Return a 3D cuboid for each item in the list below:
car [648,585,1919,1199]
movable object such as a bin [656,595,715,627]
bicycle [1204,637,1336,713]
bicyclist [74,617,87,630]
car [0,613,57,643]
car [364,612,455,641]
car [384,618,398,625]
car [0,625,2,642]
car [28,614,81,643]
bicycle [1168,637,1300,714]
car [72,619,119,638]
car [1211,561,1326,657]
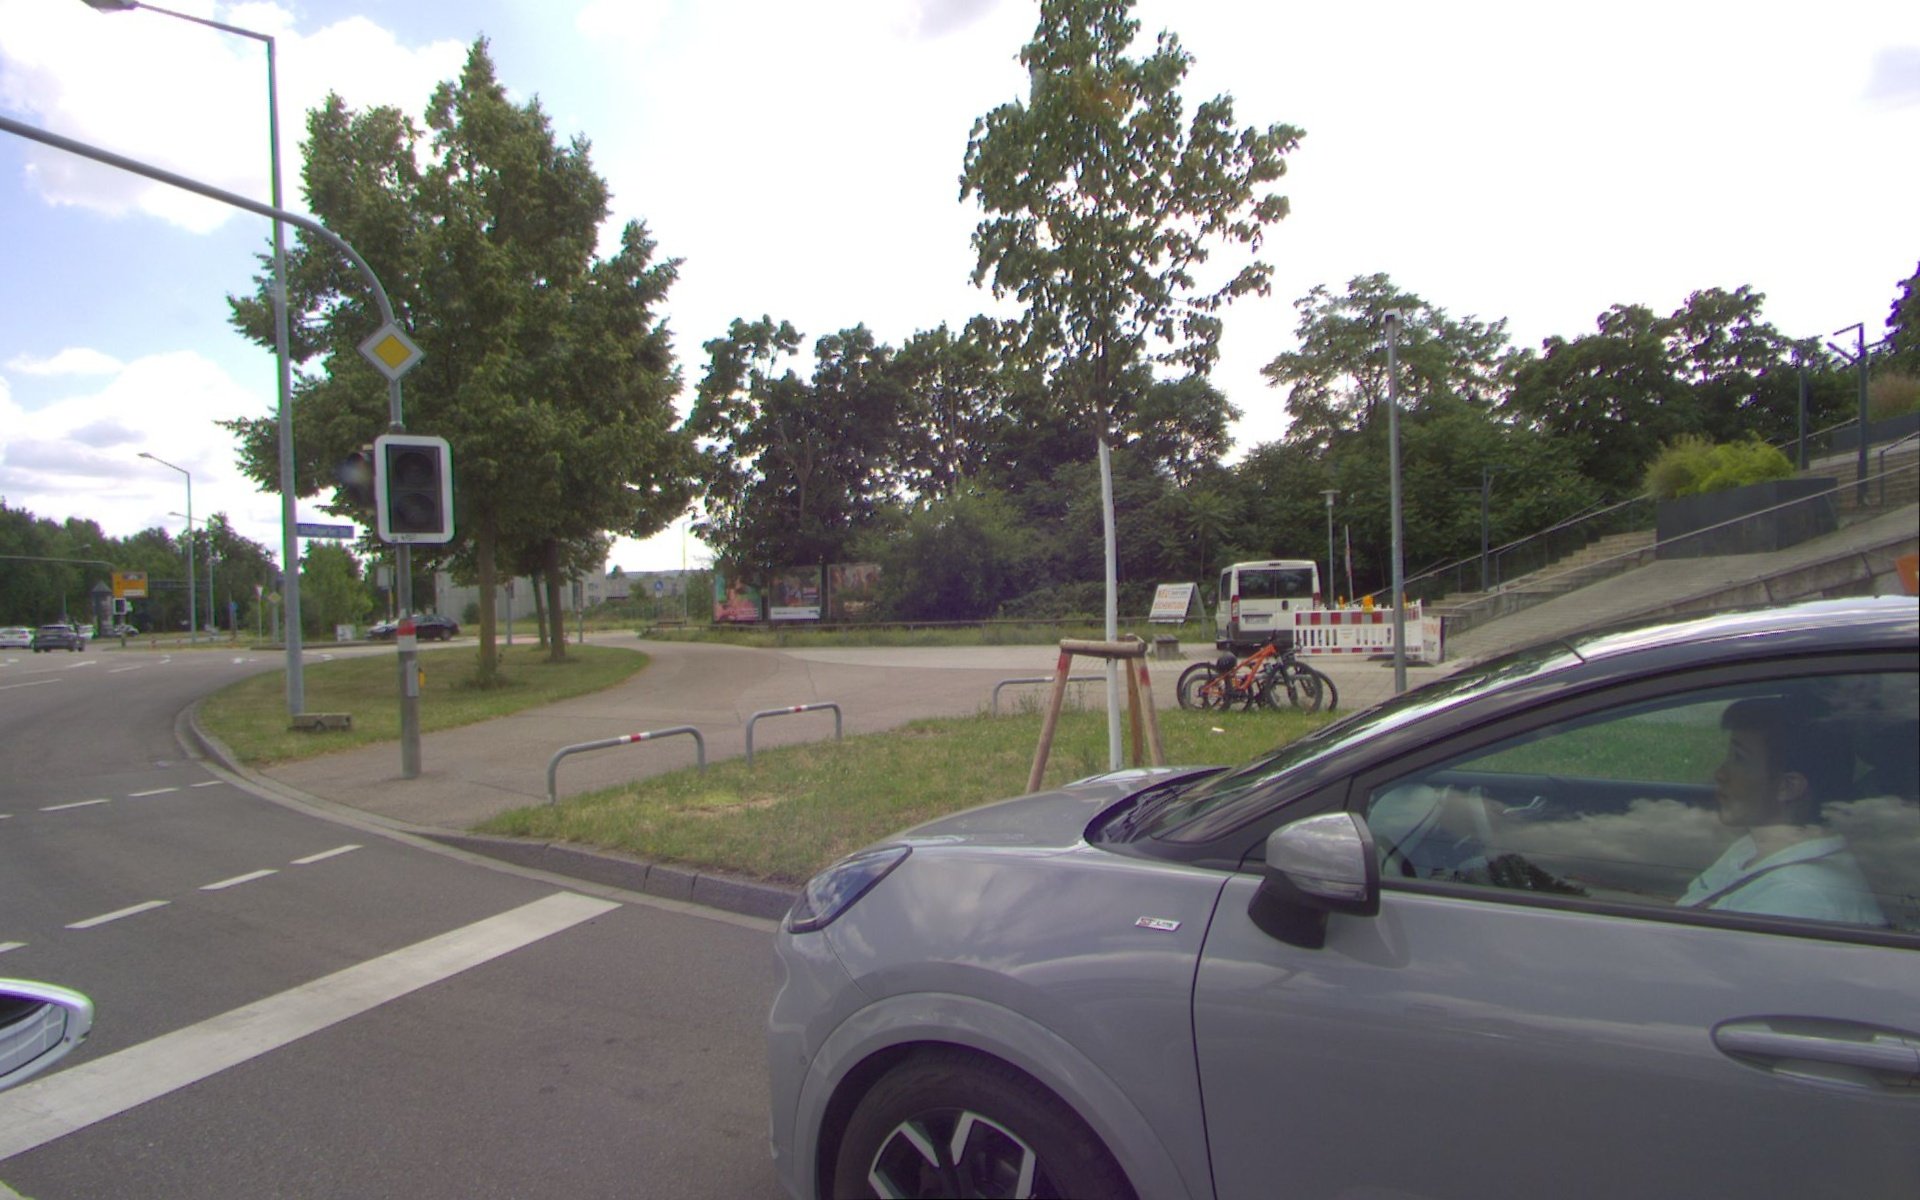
[{"bbox_3d":[1.451,0.727,1.971,4.032,1.490,1.667,-1,0,31],"label":"car"},{"bbox_3d":[-34.416,1.444,125.866,2.999,3.901,7.598,-1,-2,24],"label":"movable object such as a bin"},{"bbox_3d":[3.627,0.865,11.744,1.449,0.837,0.357,-1,1,24],"label":"bicycle"},{"bbox_3d":[-104.456,2.815,118.948,0.818,1.585,0.881,1,0,-20],"label":"bicyclist"},{"bbox_3d":[-65.830,1.952,70.720,1.968,2.040,3.984,-1,0,-25],"label":"car"},{"bbox_3d":[-29.410,1.414,53.589,1.666,1.482,3.978,-1,-1,33],"label":"car"},{"bbox_3d":[-115.352,4.339,203.121,1.814,1.506,3.857,-1,0,-19],"label":"car"},{"bbox_3d":[-81.519,2.851,82.833,1.880,1.442,4.178,-1,0,-23],"label":"car"},{"bbox_3d":[-55.072,1.726,60.977,1.976,1.647,4.277,-2,0,-38],"label":"car"},{"bbox_3d":[3.176,0.862,11.640,1.449,0.837,0.357,-1,1,24],"label":"bicycle"},{"bbox_3d":[-88.231,2.865,102.280,1.811,1.823,4.777,-3,0,-19],"label":"car"},{"bbox_3d":[7.613,0.230,25.241,2.108,2.176,5.149,0,0,10],"label":"car"}]
